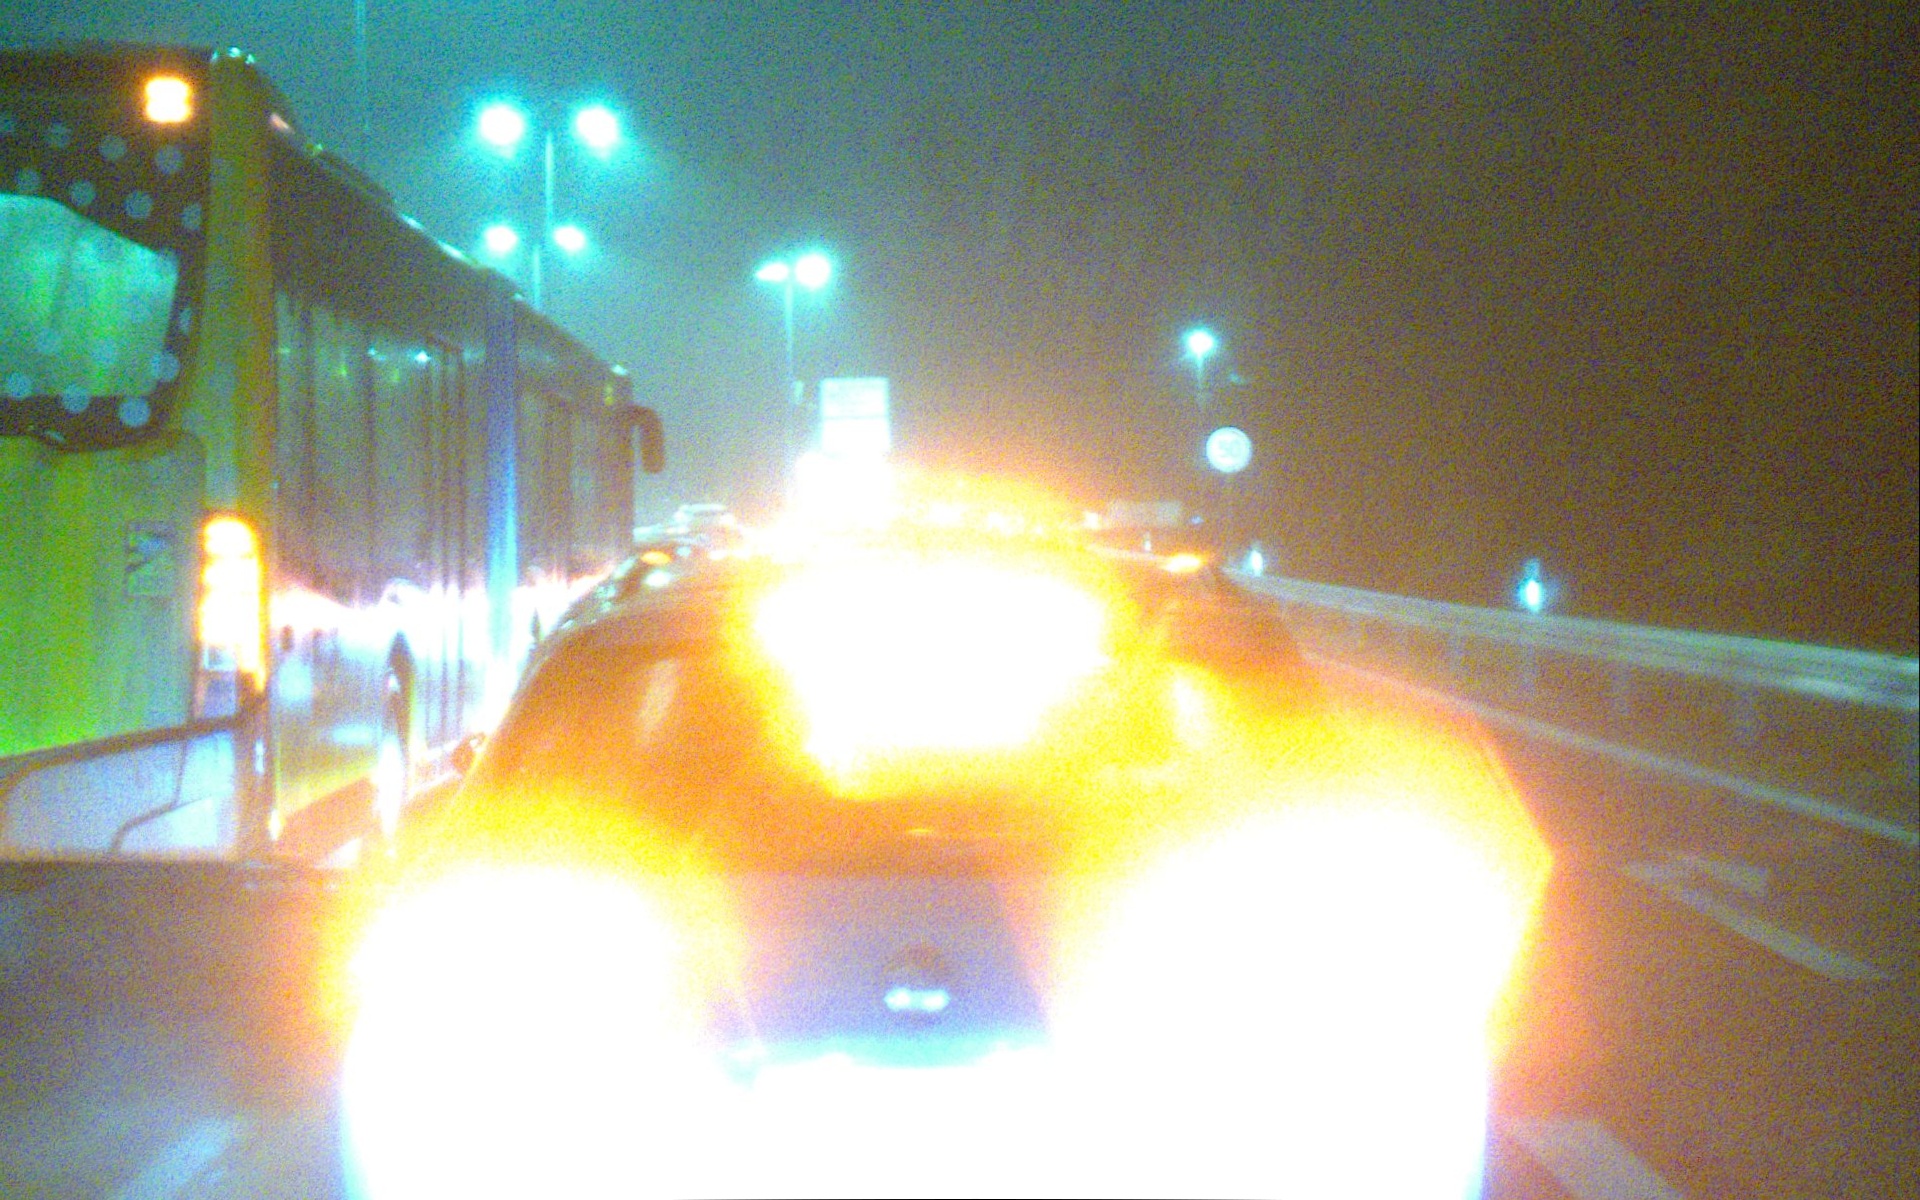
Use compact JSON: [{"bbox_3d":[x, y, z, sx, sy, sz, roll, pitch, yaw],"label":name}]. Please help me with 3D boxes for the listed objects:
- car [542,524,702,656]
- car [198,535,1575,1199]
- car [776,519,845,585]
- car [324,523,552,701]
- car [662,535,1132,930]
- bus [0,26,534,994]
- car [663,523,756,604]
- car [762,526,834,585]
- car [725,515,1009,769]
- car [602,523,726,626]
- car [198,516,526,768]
[{"bbox_3d":[-4.104,-0.154,42.225,1.779,1.538,3.875,0,1,-3],"label":"car"},{"bbox_3d":[-0.026,0.618,6.833,1.822,1.479,4.568,0,1,2],"label":"car"},{"bbox_3d":[-4.608,-1.501,106.536,1.993,2.007,4.000,1,1,-1],"label":"car"},{"bbox_3d":[-4.755,0.063,31.766,1.779,1.538,3.875,0,1,-4],"label":"car"},{"bbox_3d":[-0.334,0.450,15.122,1.731,1.444,4.725,0,1,-2],"label":"car"},{"bbox_3d":[-3.616,-0.371,15.017,2.815,3.013,8.688,0,1,-3],"label":"bus"},{"bbox_3d":[-4.930,-0.732,67.687,1.779,1.538,3.875,0,1,-4],"label":"car"},{"bbox_3d":[-4.275,-1.196,91.081,1.779,1.538,3.875,0,1,-1],"label":"car"},{"bbox_3d":[-0.704,0.222,23.209,1.739,1.559,3.777,0,1,-4],"label":"car"},{"bbox_3d":[-4.604,-0.424,53.814,1.779,1.538,3.875,0,1,-3],"label":"car"},{"bbox_3d":[-3.915,0.219,23.059,1.779,1.538,3.875,0,1,-4],"label":"car"}]
